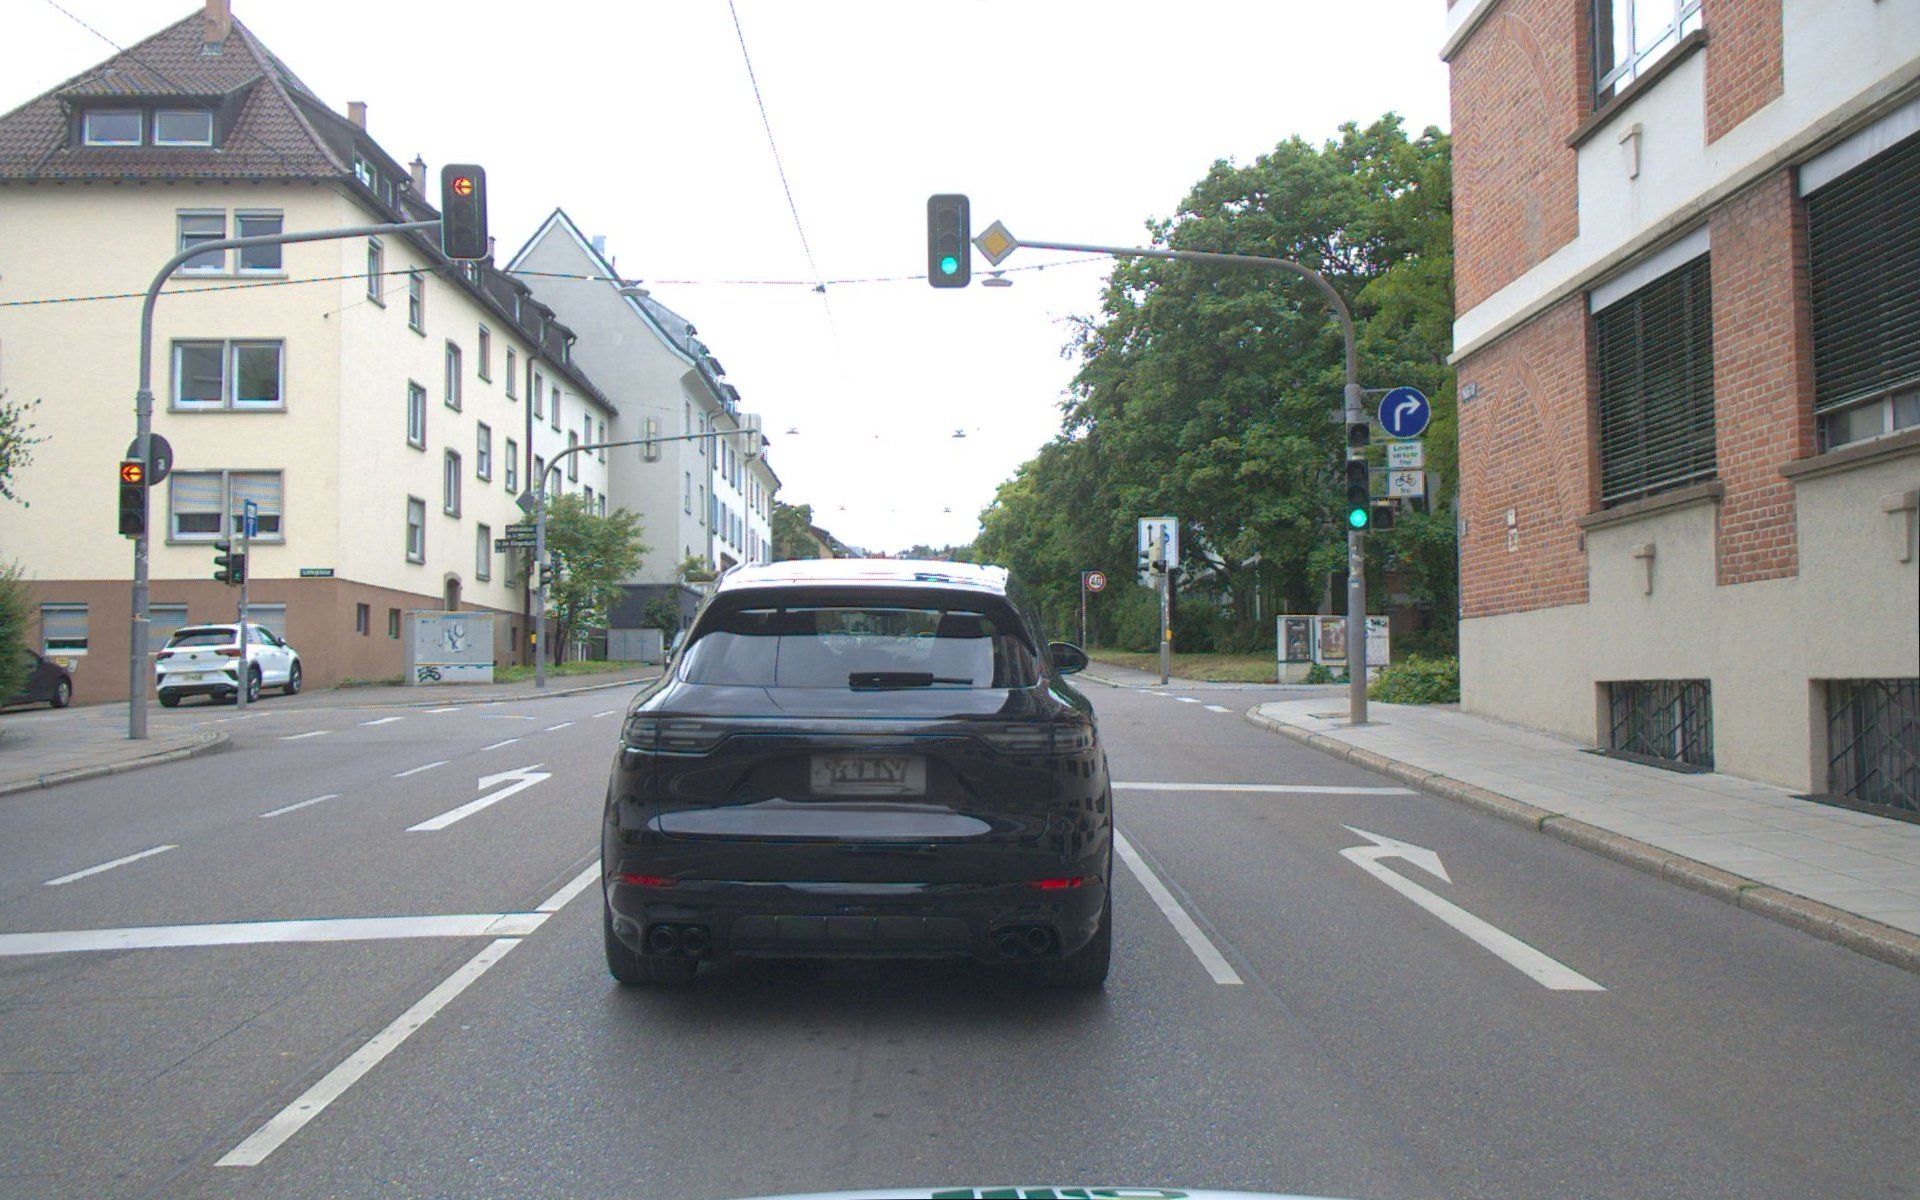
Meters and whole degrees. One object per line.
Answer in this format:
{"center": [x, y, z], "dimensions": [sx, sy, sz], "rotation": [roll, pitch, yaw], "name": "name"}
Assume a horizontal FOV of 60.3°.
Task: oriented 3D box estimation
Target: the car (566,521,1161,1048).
{"center": [-0.346, 0.626, 7.508], "dimensions": [1.953, 1.726, 3.999], "rotation": [1, 0, -1], "name": "car"}

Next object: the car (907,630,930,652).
{"center": [-3.157, 3.116, 125.632], "dimensions": [1.654, 1.579, 3.886], "rotation": [1, 0, -3], "name": "car"}

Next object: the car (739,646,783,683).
{"center": [-8.324, 2.678, 69.419], "dimensions": [1.637, 1.386, 3.997], "rotation": [0, 0, -4], "name": "car"}

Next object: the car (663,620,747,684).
{"center": [-6.957, 1.385, 45.446], "dimensions": [1.630, 1.545, 3.739], "rotation": [-4, 0, 0], "name": "car"}

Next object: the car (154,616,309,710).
{"center": [-14.759, 1.225, 33.739], "dimensions": [1.637, 1.691, 3.995], "rotation": [-3, 0, -5], "name": "car"}

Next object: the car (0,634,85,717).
{"center": [-19.688, 1.565, 33.570], "dimensions": [1.636, 1.573, 4.100], "rotation": [-3, 0, -1], "name": "car"}
